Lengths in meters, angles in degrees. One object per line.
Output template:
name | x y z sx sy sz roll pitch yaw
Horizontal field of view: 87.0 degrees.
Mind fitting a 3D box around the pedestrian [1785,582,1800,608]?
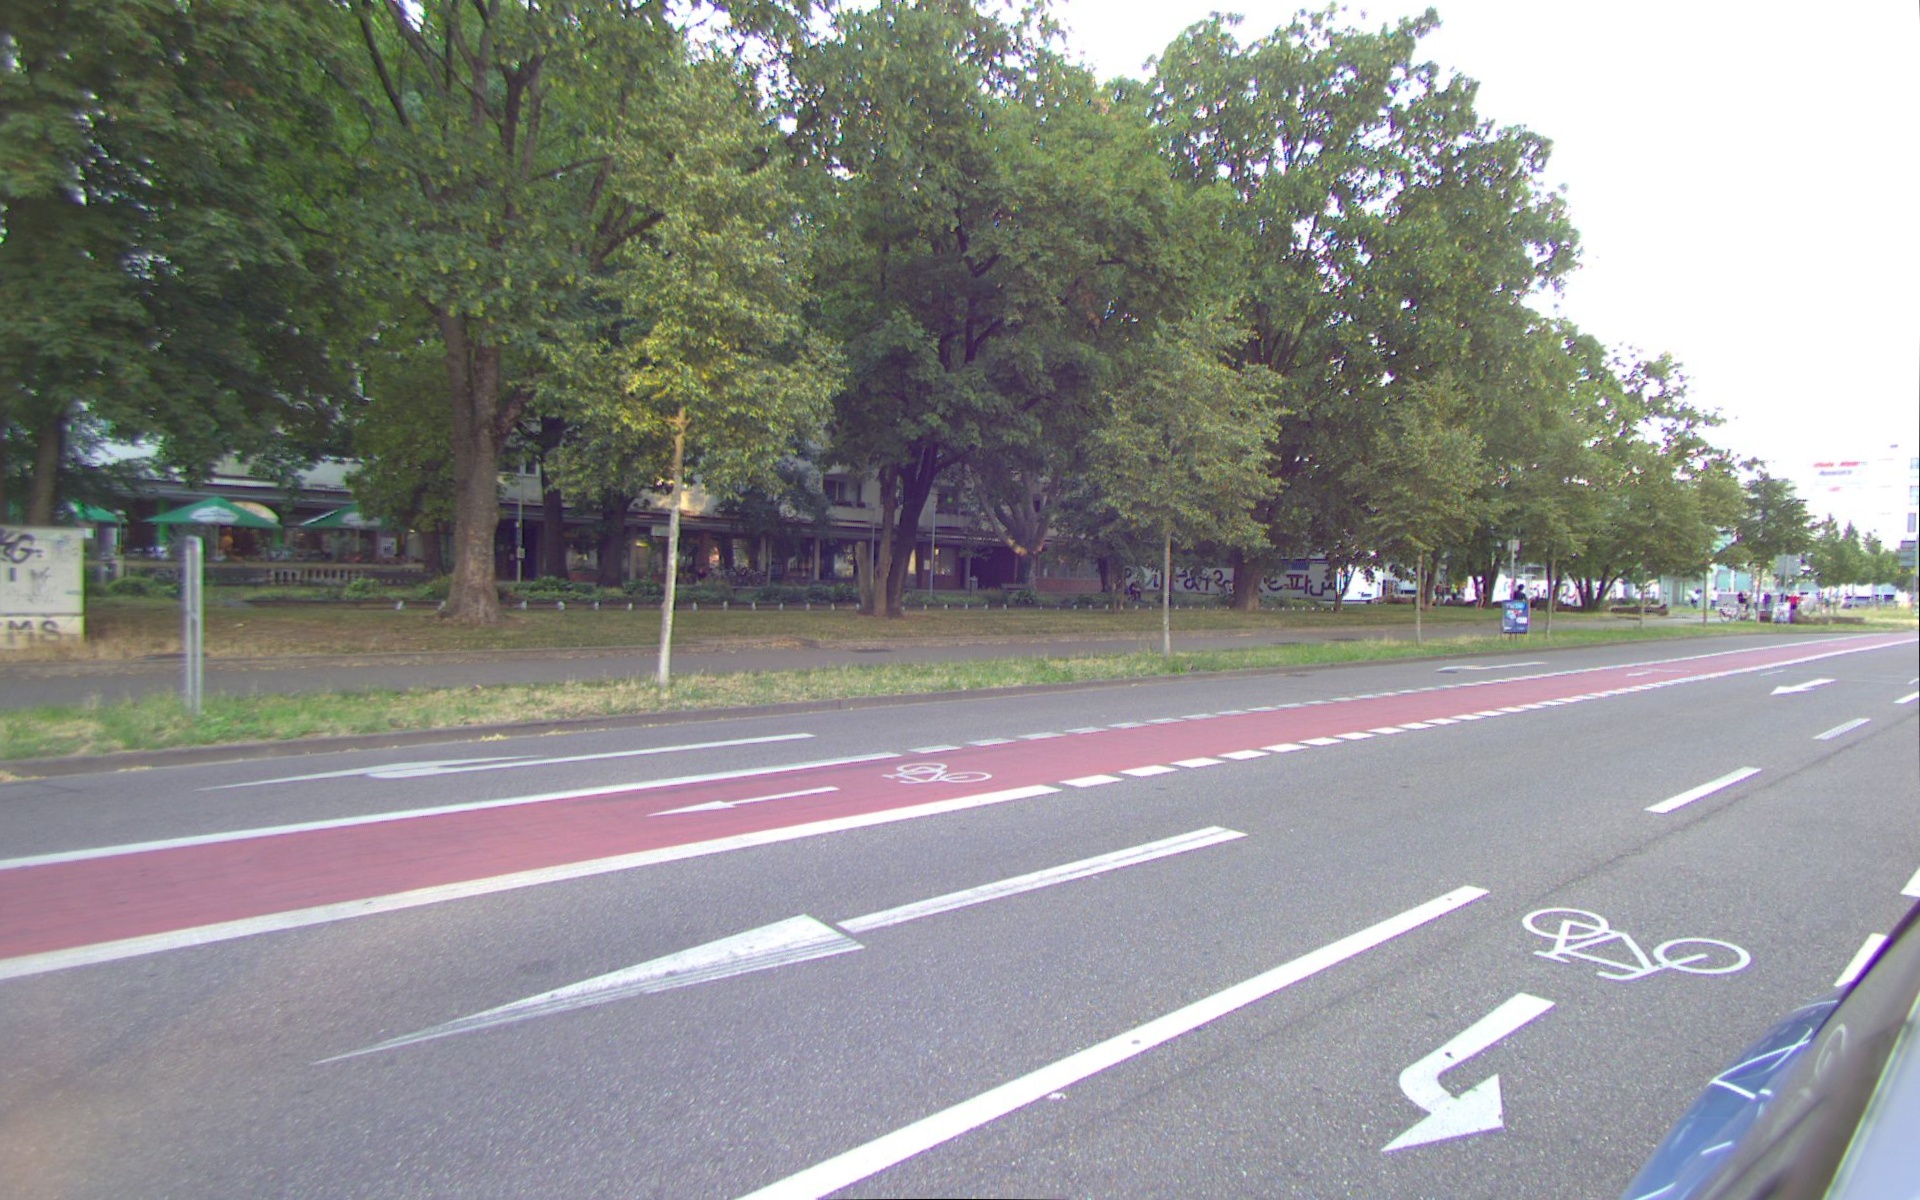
pedestrian | 57.748 -0.333 70.213 0.497 1.779 0.638 0 2 -40

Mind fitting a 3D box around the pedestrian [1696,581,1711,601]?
pedestrian | 54.097 -0.654 73.619 0.604 1.371 0.728 0 2 -40

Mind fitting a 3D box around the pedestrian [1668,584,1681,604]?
pedestrian | 50.163 -0.435 71.018 0.759 1.371 0.519 0 2 -41

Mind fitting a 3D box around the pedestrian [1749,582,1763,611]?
pedestrian | 49.466 -0.224 62.889 0.707 1.751 0.519 0 2 -40

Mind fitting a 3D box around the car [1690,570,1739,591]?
car | 79.170 -2.063 106.252 3.983 2.038 1.971 3 2 40

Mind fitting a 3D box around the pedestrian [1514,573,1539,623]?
pedestrian | 20.143 -0.075 35.963 0.546 1.760 0.558 0 2 -41

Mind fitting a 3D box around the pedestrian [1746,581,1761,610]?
pedestrian | 47.310 -0.270 60.349 0.707 1.751 0.508 0 2 -41

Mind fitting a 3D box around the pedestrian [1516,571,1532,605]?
pedestrian | 26.956 -0.572 48.376 0.513 1.621 0.500 0 2 -41

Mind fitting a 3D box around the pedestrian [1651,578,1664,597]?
pedestrian | 49.442 -0.893 71.710 0.759 1.371 0.519 0 2 -41

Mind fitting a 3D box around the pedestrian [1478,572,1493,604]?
pedestrian | 26.183 -0.598 50.453 0.359 1.621 0.500 1 2 -40

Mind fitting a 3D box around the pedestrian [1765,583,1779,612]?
pedestrian | 49.976 -0.170 62.315 0.707 1.751 0.508 0 2 -41

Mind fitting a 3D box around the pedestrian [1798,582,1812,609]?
pedestrian | 57.891 -0.309 69.335 0.497 1.779 0.638 0 2 -40

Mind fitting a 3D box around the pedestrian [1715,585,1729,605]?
pedestrian | 54.749 -0.367 72.690 0.550 1.371 0.662 0 2 -40
